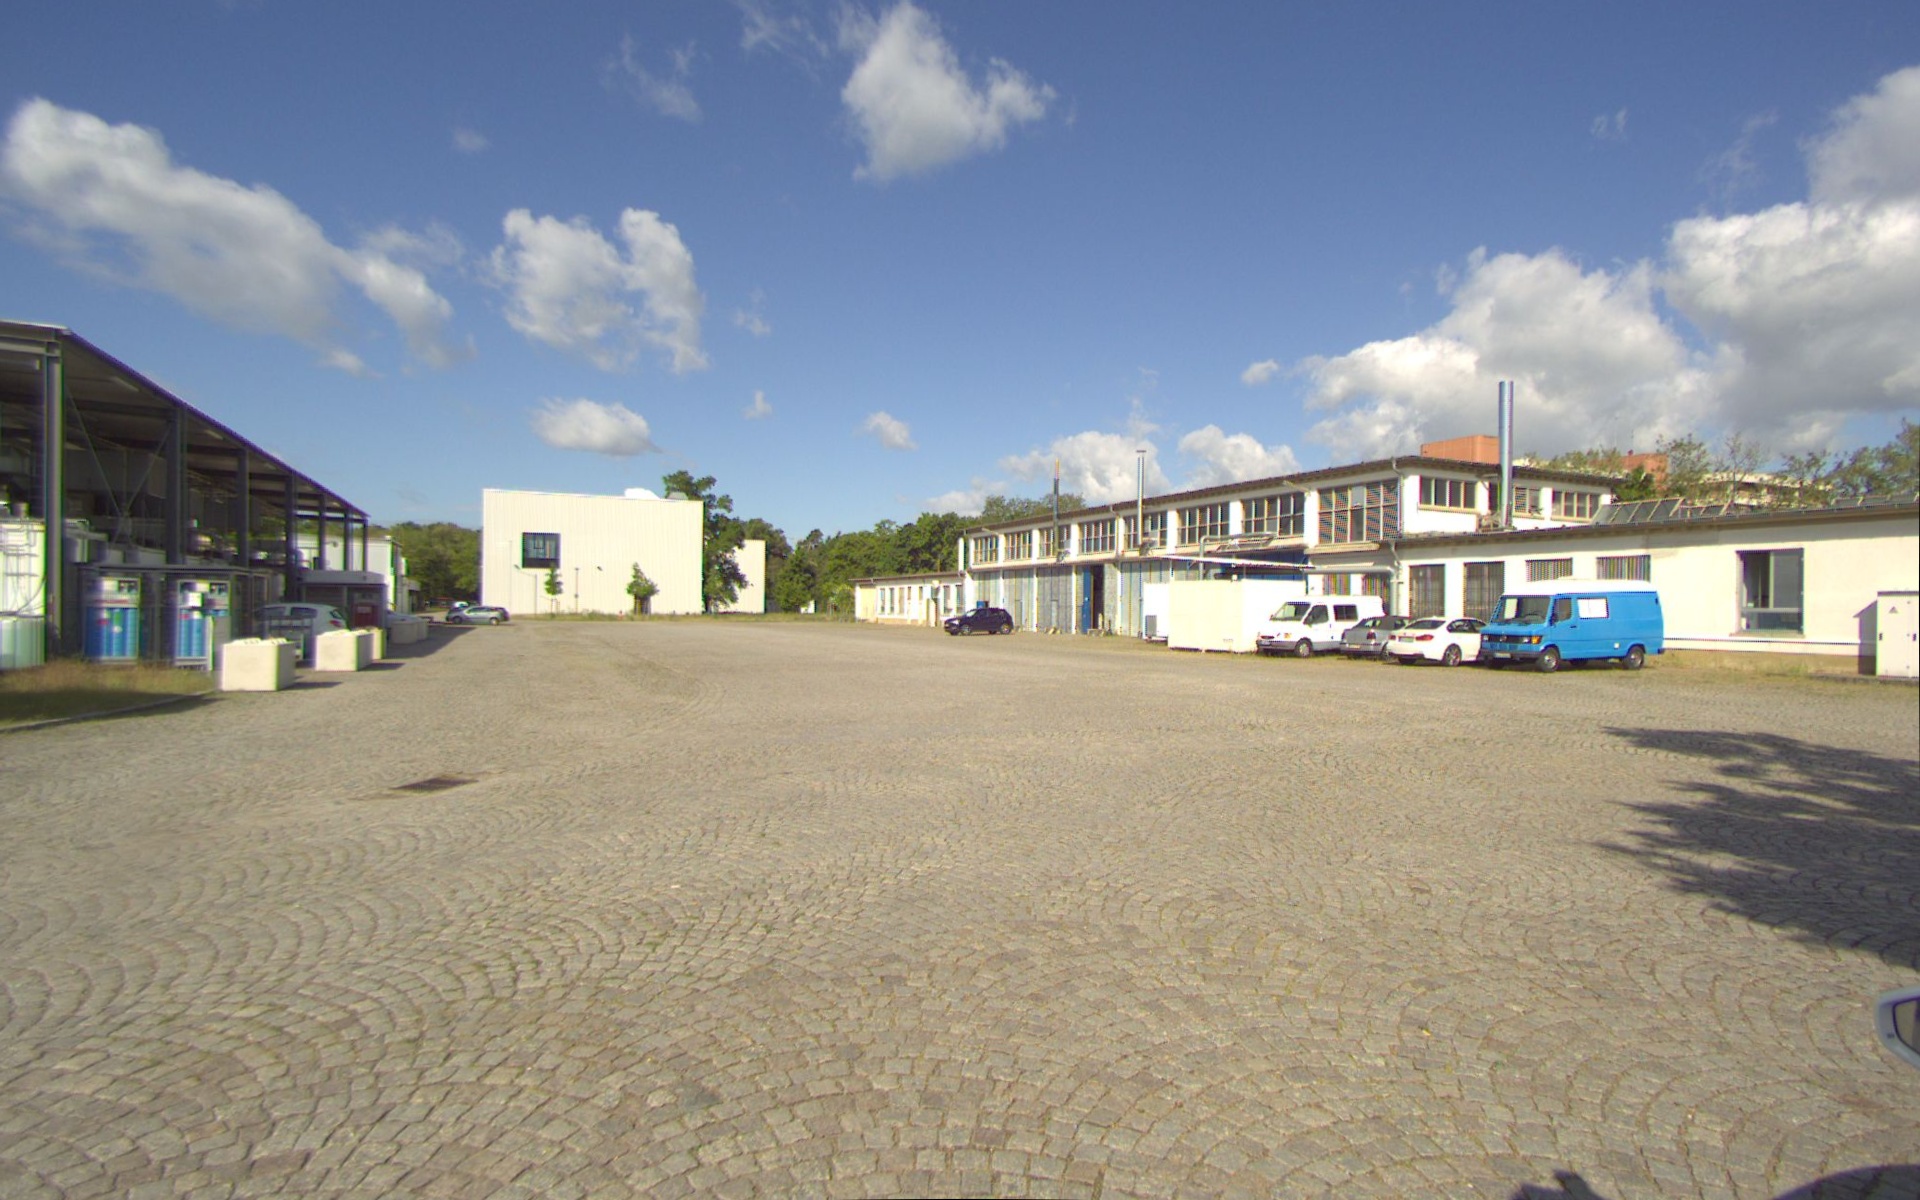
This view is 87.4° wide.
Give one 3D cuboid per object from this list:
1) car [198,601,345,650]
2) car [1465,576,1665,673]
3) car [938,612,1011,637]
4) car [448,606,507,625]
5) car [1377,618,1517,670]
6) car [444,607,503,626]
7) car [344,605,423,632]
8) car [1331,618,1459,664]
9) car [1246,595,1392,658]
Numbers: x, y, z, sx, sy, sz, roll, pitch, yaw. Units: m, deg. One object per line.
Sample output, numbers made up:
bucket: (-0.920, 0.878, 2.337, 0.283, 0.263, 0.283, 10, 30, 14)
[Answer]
car: (-20.400, 0.754, 29.934, 3.430, 1.394, 1.599, 1, -1, -28)
car: (16.770, 0.690, 27.851, 5.162, 2.516, 2.079, 1, -1, -22)
car: (0.879, 1.444, 60.146, 4.023, 1.489, 1.729, 0, -1, -26)
car: (-39.293, 1.252, 81.924, 4.301, 1.489, 1.729, 1, -1, -26)
car: (14.507, 1.279, 29.931, 3.684, 1.424, 1.729, 0, -1, -22)
car: (-38.178, 1.306, 78.891, 4.133, 1.422, 1.729, 1, -1, -26)
car: (-31.511, 1.003, 55.007, 3.651, 1.427, 1.663, 1, -1, -28)
car: (14.239, 1.333, 32.885, 3.776, 1.417, 1.683, 1, 0, -22)
car: (12.622, 0.950, 35.345, 4.734, 2.109, 2.000, 1, -1, -22)
